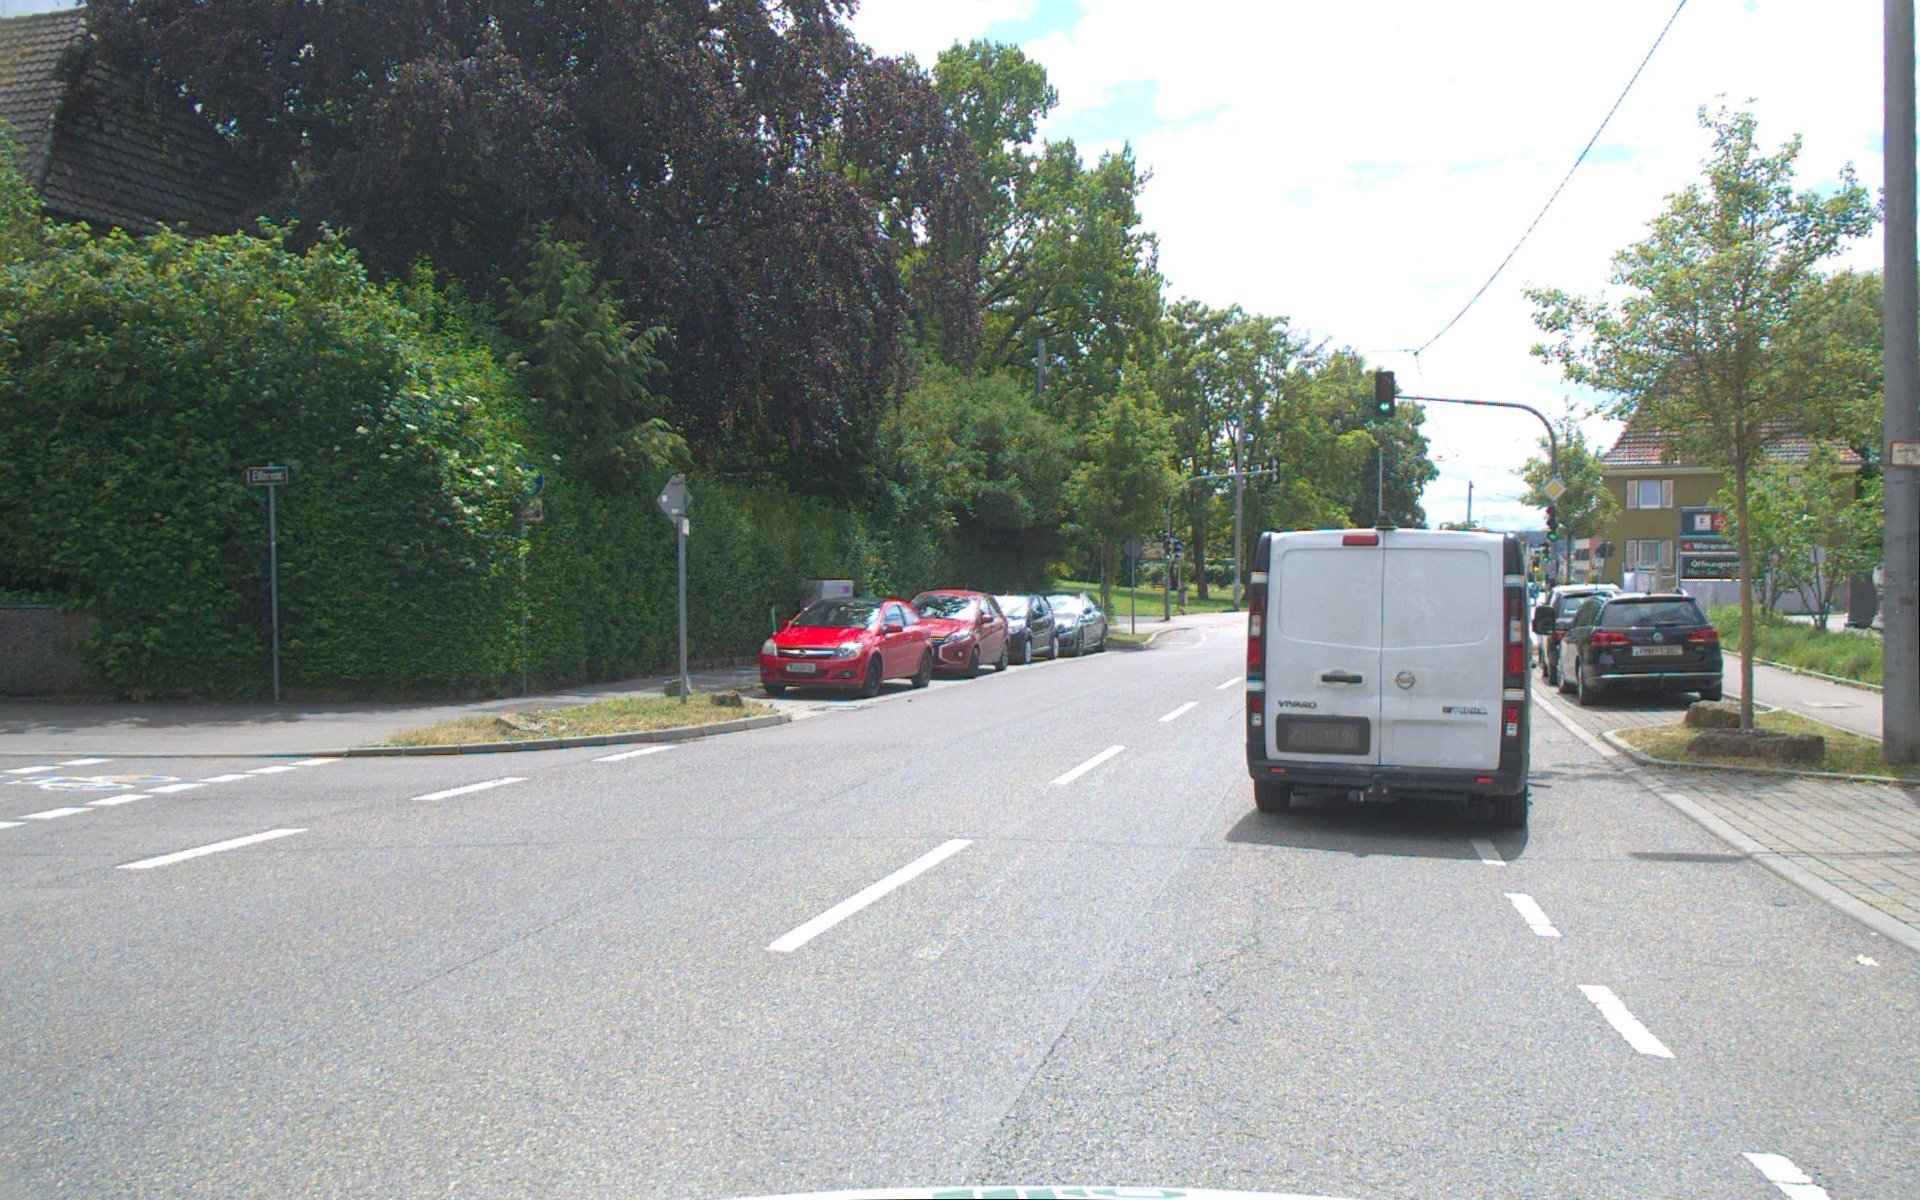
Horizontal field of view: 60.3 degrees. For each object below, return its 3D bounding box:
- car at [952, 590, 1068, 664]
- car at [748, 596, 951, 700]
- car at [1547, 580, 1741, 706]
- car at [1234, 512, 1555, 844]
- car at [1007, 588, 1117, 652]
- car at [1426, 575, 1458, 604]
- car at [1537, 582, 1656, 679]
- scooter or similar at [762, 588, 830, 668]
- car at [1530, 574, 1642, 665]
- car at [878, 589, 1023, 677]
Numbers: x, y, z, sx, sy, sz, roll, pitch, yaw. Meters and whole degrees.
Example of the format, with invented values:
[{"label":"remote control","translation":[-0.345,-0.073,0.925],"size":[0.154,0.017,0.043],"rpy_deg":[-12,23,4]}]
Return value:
[{"label":"car","translation":[1.112,0.530,35.270],"size":[1.562,1.476,3.598],"rpy_deg":[1,1,17]},{"label":"car","translation":[-1.579,0.664,25.448],"size":[1.625,1.402,4.569],"rpy_deg":[1,1,16]},{"label":"car","translation":[9.437,0.539,23.194],"size":[1.727,1.503,4.940],"rpy_deg":[-3,0,14]},{"label":"car","translation":[3.471,0.441,12.667],"size":[1.898,1.995,4.835],"rpy_deg":[2,1,19]},{"label":"car","translation":[2.496,0.424,39.355],"size":[1.659,1.389,4.690],"rpy_deg":[2,1,16]},{"label":"car","translation":[28.868,-0.658,99.006],"size":[1.794,1.645,4.155],"rpy_deg":[-1,0,17]},{"label":"car","translation":[10.721,0.479,28.059],"size":[1.535,1.519,4.003],"rpy_deg":[-1,0,16]},{"label":"scooter or similar","translation":[-3.067,0.503,31.032],"size":[0.656,1.437,1.650],"rpy_deg":[1,1,17]},{"label":"car","translation":[12.554,0.368,33.385],"size":[1.700,1.644,4.389],"rpy_deg":[-3,-1,16]},{"label":"car","translation":[-0.094,0.552,30.545],"size":[1.614,1.476,4.108],"rpy_deg":[1,1,15]}]
